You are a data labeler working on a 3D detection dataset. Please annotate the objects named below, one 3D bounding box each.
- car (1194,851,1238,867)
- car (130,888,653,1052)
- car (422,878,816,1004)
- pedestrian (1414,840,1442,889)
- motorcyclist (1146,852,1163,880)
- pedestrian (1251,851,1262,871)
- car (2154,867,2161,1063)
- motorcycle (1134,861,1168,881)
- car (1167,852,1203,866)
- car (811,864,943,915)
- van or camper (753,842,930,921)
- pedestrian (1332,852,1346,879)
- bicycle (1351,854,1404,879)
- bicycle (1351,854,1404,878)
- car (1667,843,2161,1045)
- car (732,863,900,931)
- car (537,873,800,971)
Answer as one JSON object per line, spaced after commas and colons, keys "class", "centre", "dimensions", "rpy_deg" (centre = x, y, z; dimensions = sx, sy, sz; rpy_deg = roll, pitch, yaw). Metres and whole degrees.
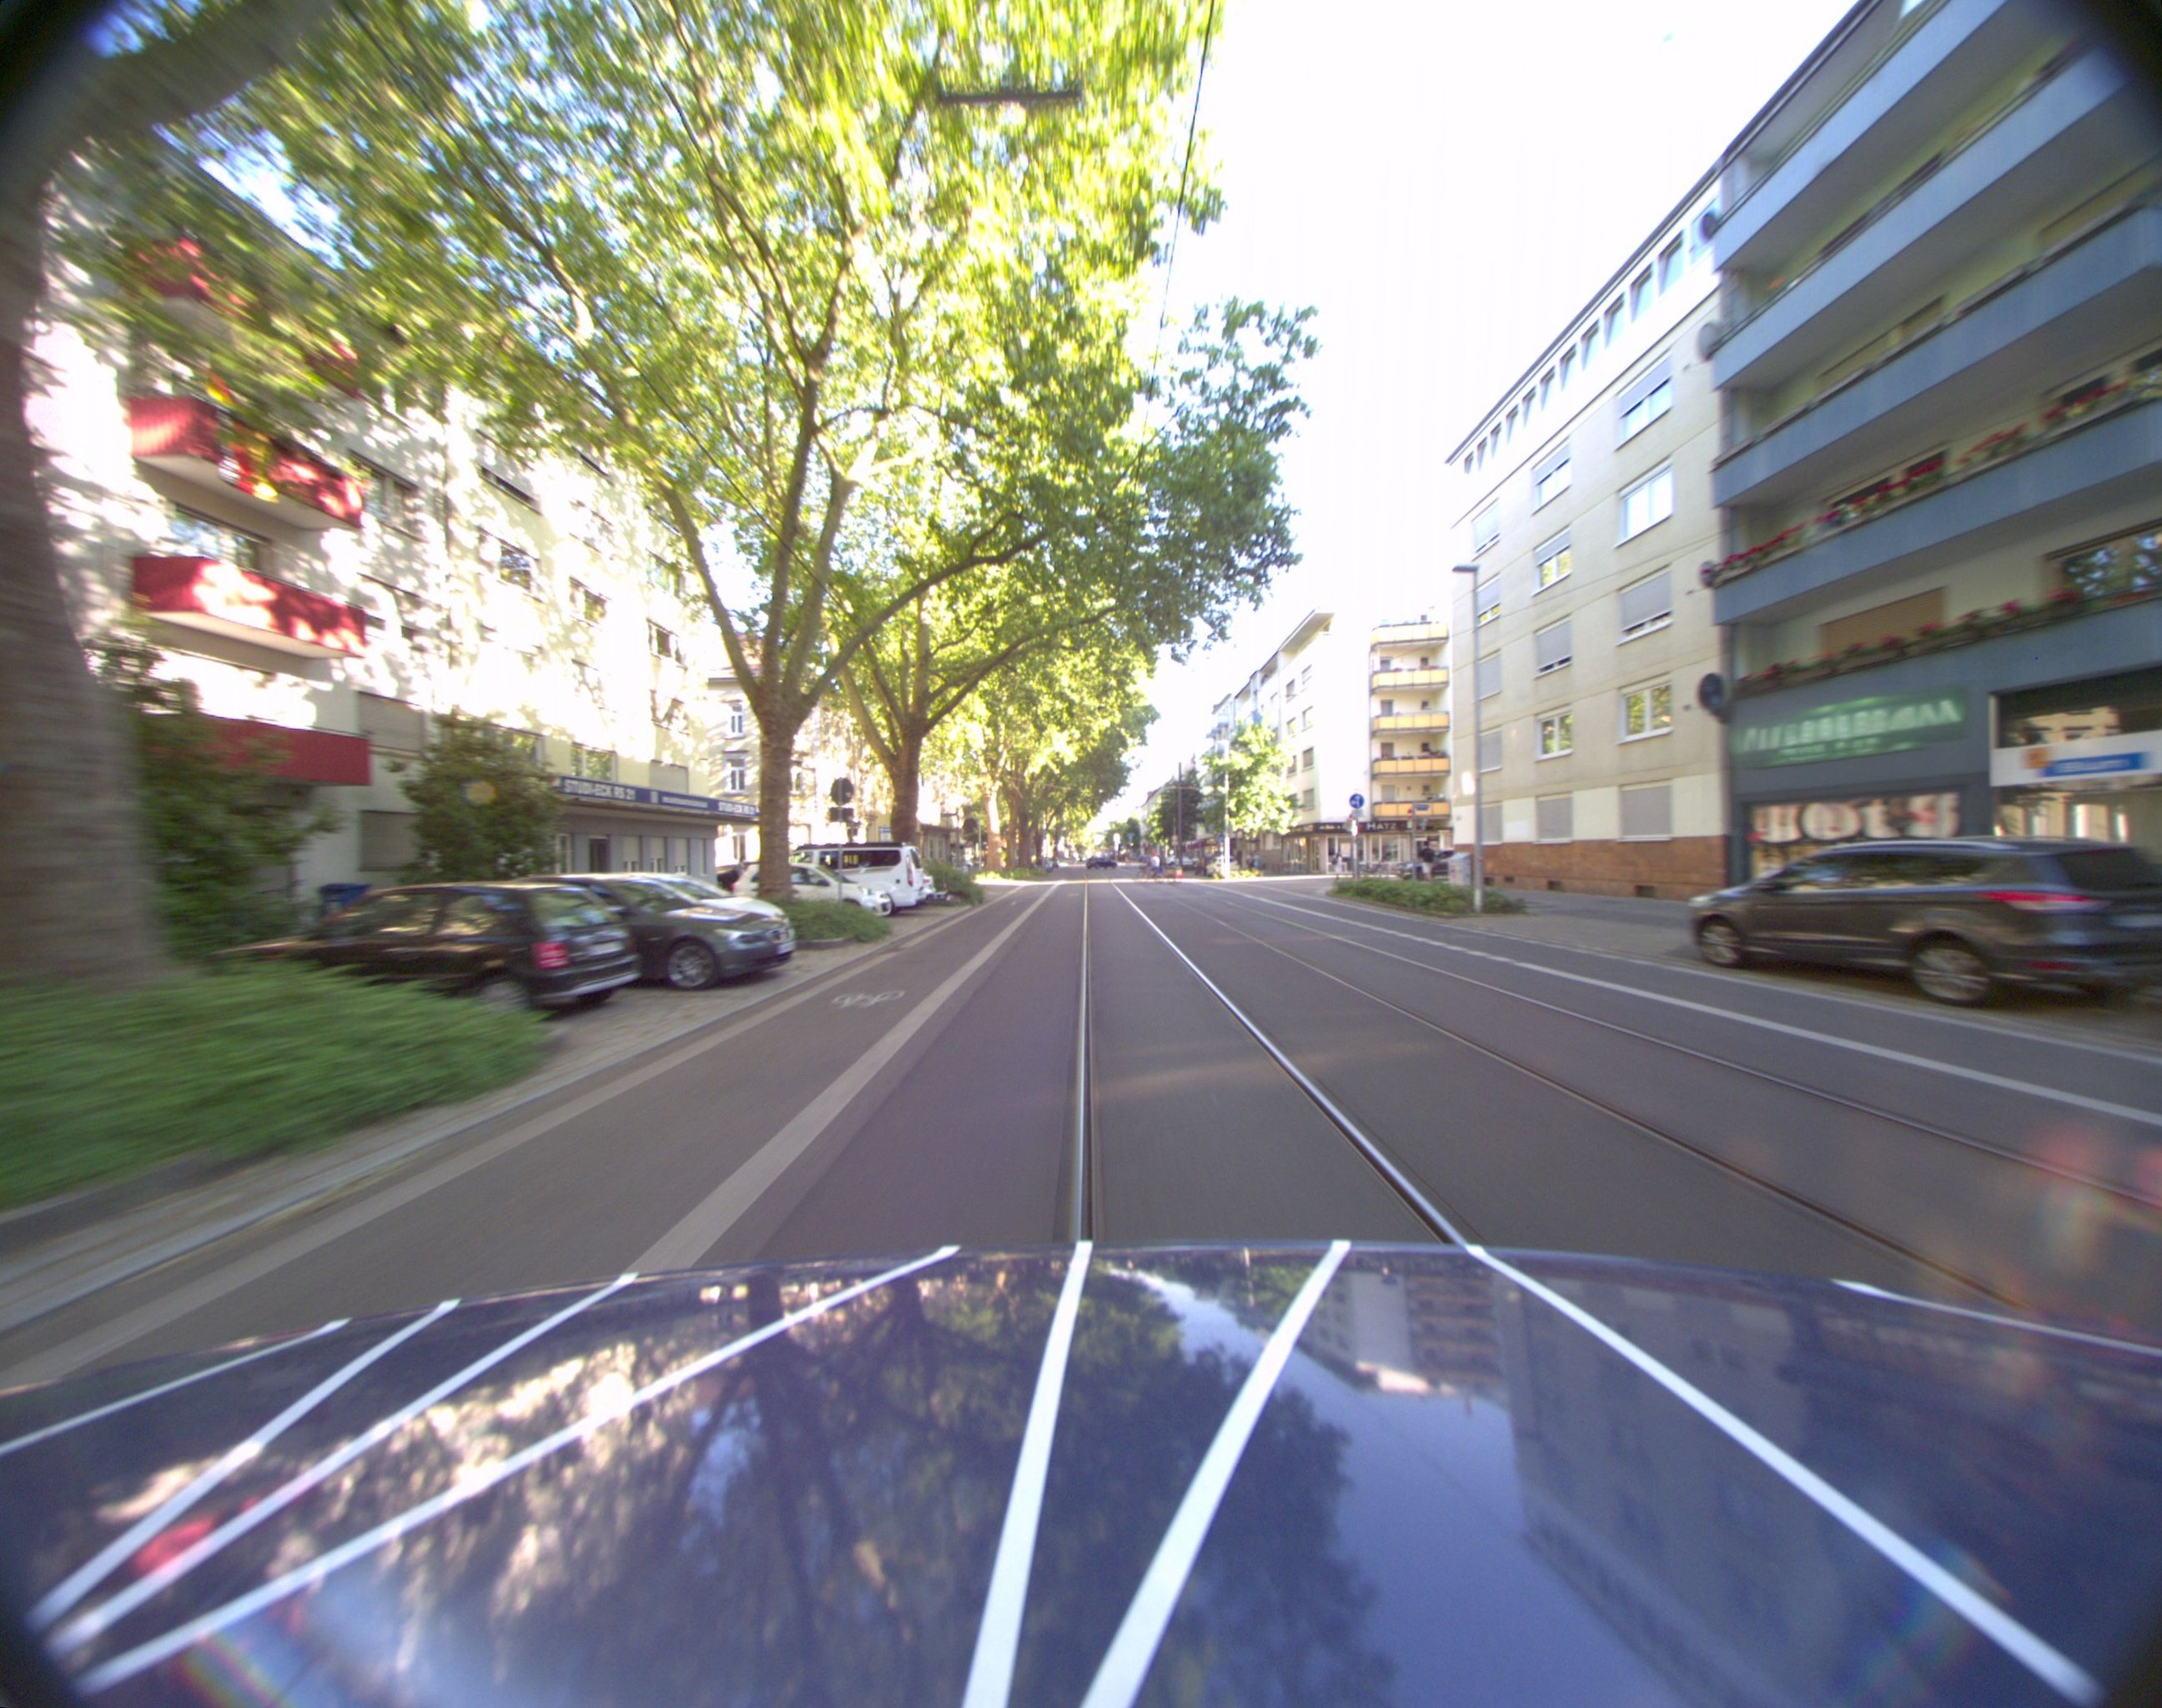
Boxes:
{"class": "car", "centre": [12.915, 0.457, 72.925], "dimensions": [3.953, 1.515, 1.587], "rpy_deg": [-1, 0, 4]}
{"class": "car", "centre": [-6.889, 1.116, 7.943], "dimensions": [3.836, 1.435, 1.699], "rpy_deg": [0, 1, -2]}
{"class": "car", "centre": [-6.052, 1.106, 10.343], "dimensions": [4.206, 1.473, 1.911], "rpy_deg": [0, 0, 2]}
{"class": "pedestrian", "centre": [13.865, 0.417, 30.403], "dimensions": [0.773, 1.888, 0.799], "rpy_deg": [-2, 1, 8]}
{"class": "motorcyclist", "centre": [4.239, 0.701, 43.751], "dimensions": [0.754, 1.609, 0.590], "rpy_deg": [-1, 1, 26]}
{"class": "pedestrian", "centre": [13.211, 0.548, 57.150], "dimensions": [0.596, 1.496, 0.655], "rpy_deg": [-2, 1, 1]}
{"class": "car", "centre": [9.582, 0.873, 4.085], "dimensions": [1.660, 1.591, 4.202], "rpy_deg": [-3, 0, 0]}
{"class": "motorcycle", "centre": [4.034, 0.973, 43.817], "dimensions": [1.827, 1.112, 0.591], "rpy_deg": [-1, 1, 27]}
{"class": "car", "centre": [11.841, 0.537, 86.568], "dimensions": [3.953, 1.515, 1.587], "rpy_deg": [-1, 0, 4]}
{"class": "car", "centre": [-6.295, 1.082, 23.682], "dimensions": [3.570, 1.431, 1.727], "rpy_deg": [-1, 1, 4]}
{"class": "van or camper", "centre": [-6.639, 0.743, 21.452], "dimensions": [4.388, 2.097, 1.838], "rpy_deg": [0, 1, -3]}
{"class": "pedestrian", "centre": [14.724, 0.651, 43.344], "dimensions": [0.595, 1.496, 0.656], "rpy_deg": [-2, 1, 8]}
{"class": "bicycle", "centre": [16.960, 0.729, 43.530], "dimensions": [2.804, 1.306, 0.539], "rpy_deg": [-2, 1, 20]}
{"class": "bicycle", "centre": [17.202, 0.688, 44.130], "dimensions": [2.804, 1.306, 0.539], "rpy_deg": [-2, 1, 20]}
{"class": "car", "centre": [9.652, 0.793, 9.035], "dimensions": [1.784, 1.728, 4.489], "rpy_deg": [-3, 0, -2]}
{"class": "car", "centre": [-6.492, 1.025, 18.876], "dimensions": [3.572, 1.522, 1.677], "rpy_deg": [-1, 1, -1]}
{"class": "car", "centre": [-6.745, 1.083, 12.687], "dimensions": [3.483, 1.473, 1.643], "rpy_deg": [0, 1, 0]}
